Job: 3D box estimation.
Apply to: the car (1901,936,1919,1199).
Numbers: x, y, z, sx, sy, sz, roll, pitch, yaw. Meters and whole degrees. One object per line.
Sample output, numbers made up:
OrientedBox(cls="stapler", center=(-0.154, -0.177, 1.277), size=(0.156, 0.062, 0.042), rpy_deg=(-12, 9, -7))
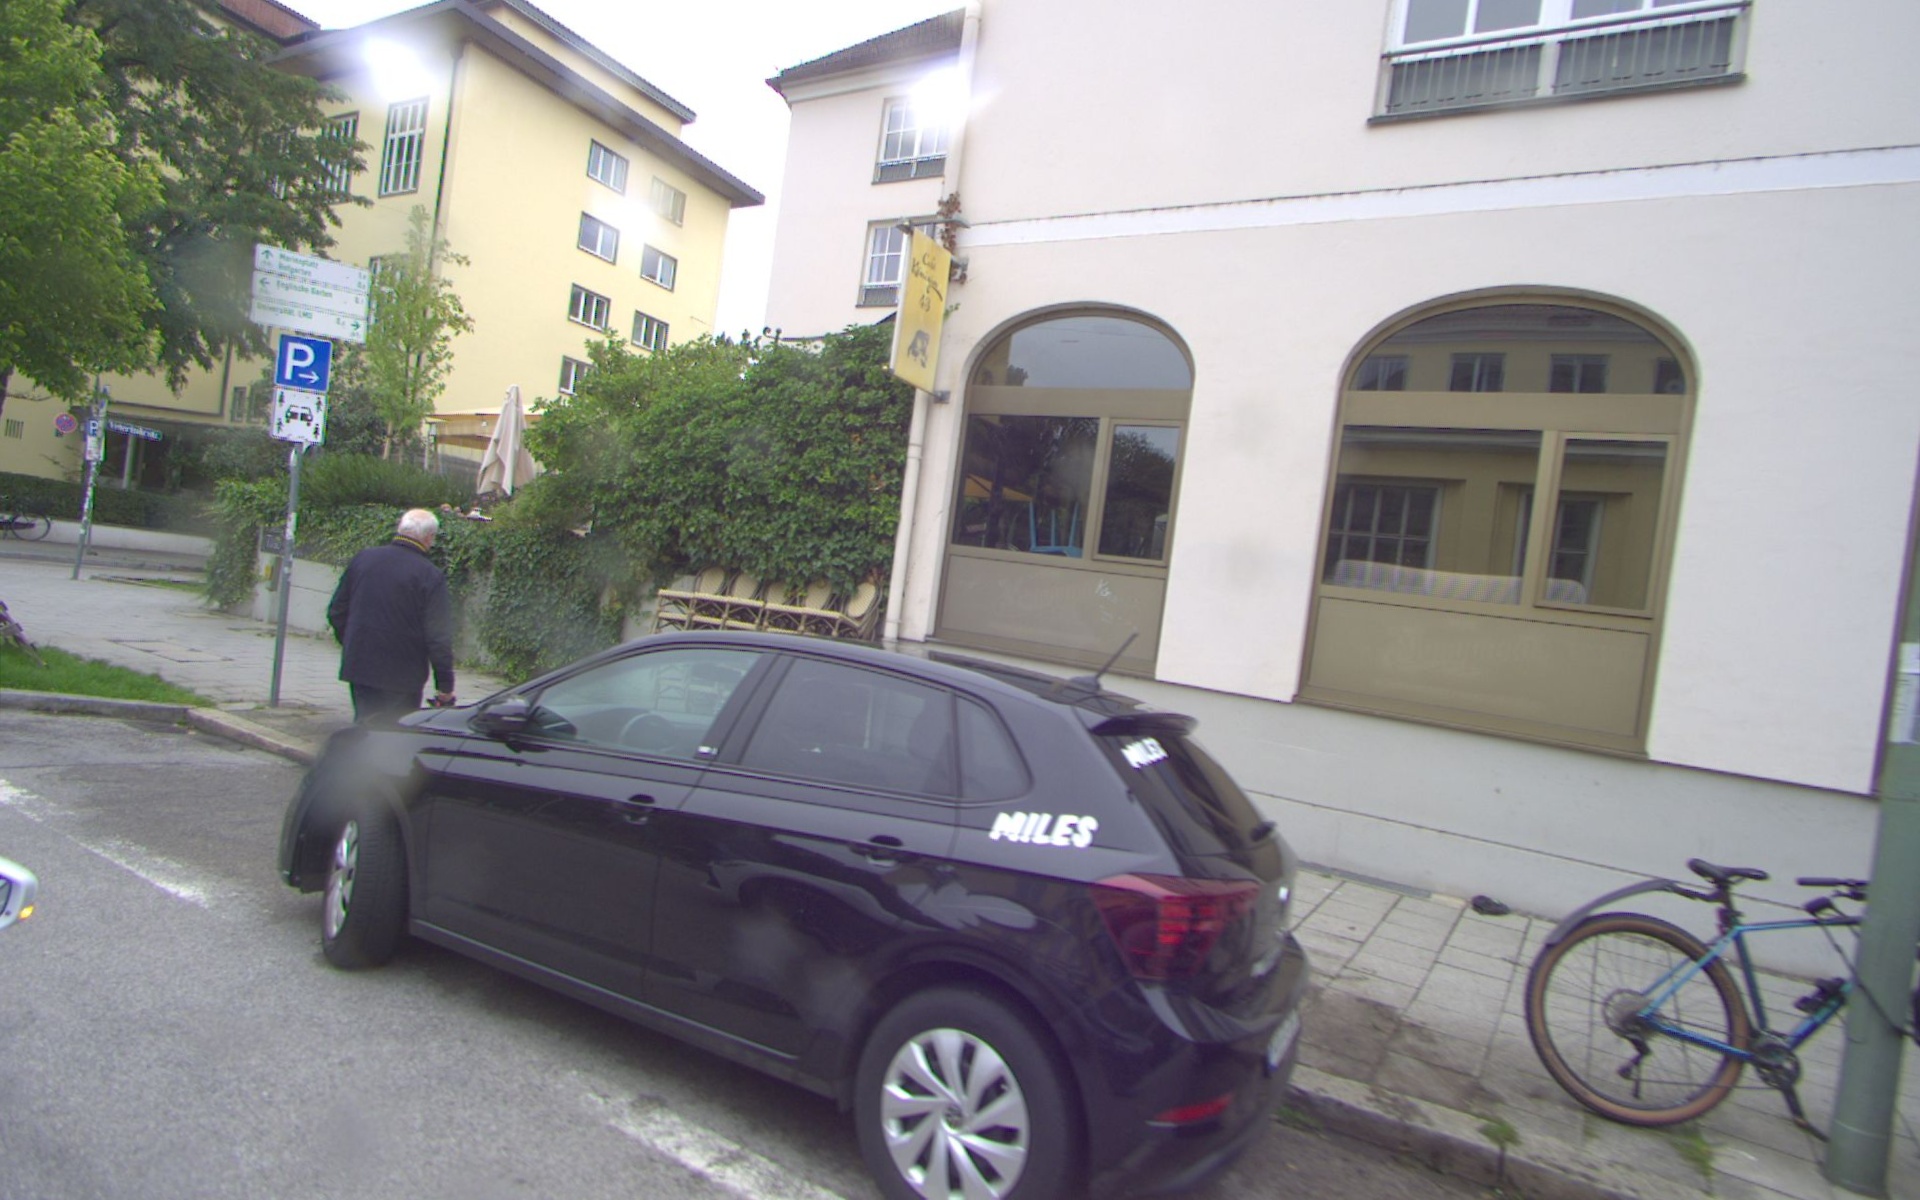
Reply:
OrientedBox(cls="car", center=(4.501, 0.910, 0.732), size=(5.160, 2.256, 2.085), rpy_deg=(5, -5, 33))

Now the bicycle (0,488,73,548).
OrientedBox(cls="bicycle", center=(-22.543, -2.005, 23.993), size=(0.586, 1.216, 1.923), rpy_deg=(8, 0, 34))

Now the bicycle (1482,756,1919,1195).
OrientedBox(cls="bicycle", center=(3.037, 1.334, 3.630), size=(1.842, 1.161, 0.621), rpy_deg=(7, 3, 18))

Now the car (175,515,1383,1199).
OrientedBox(cls="car", center=(-0.802, 0.696, 3.835), size=(4.230, 1.403, 1.684), rpy_deg=(7, -4, 27))

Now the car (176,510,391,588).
OrientedBox(cls="car", center=(-17.434, -1.272, 26.139), size=(1.670, 1.463, 4.250), rpy_deg=(6, -1, 32))

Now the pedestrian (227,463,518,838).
OrientedBox(cls="pedestrian", center=(-3.171, 0.289, 5.575), size=(0.919, 1.820, 0.957), rpy_deg=(5, -3, -7))
